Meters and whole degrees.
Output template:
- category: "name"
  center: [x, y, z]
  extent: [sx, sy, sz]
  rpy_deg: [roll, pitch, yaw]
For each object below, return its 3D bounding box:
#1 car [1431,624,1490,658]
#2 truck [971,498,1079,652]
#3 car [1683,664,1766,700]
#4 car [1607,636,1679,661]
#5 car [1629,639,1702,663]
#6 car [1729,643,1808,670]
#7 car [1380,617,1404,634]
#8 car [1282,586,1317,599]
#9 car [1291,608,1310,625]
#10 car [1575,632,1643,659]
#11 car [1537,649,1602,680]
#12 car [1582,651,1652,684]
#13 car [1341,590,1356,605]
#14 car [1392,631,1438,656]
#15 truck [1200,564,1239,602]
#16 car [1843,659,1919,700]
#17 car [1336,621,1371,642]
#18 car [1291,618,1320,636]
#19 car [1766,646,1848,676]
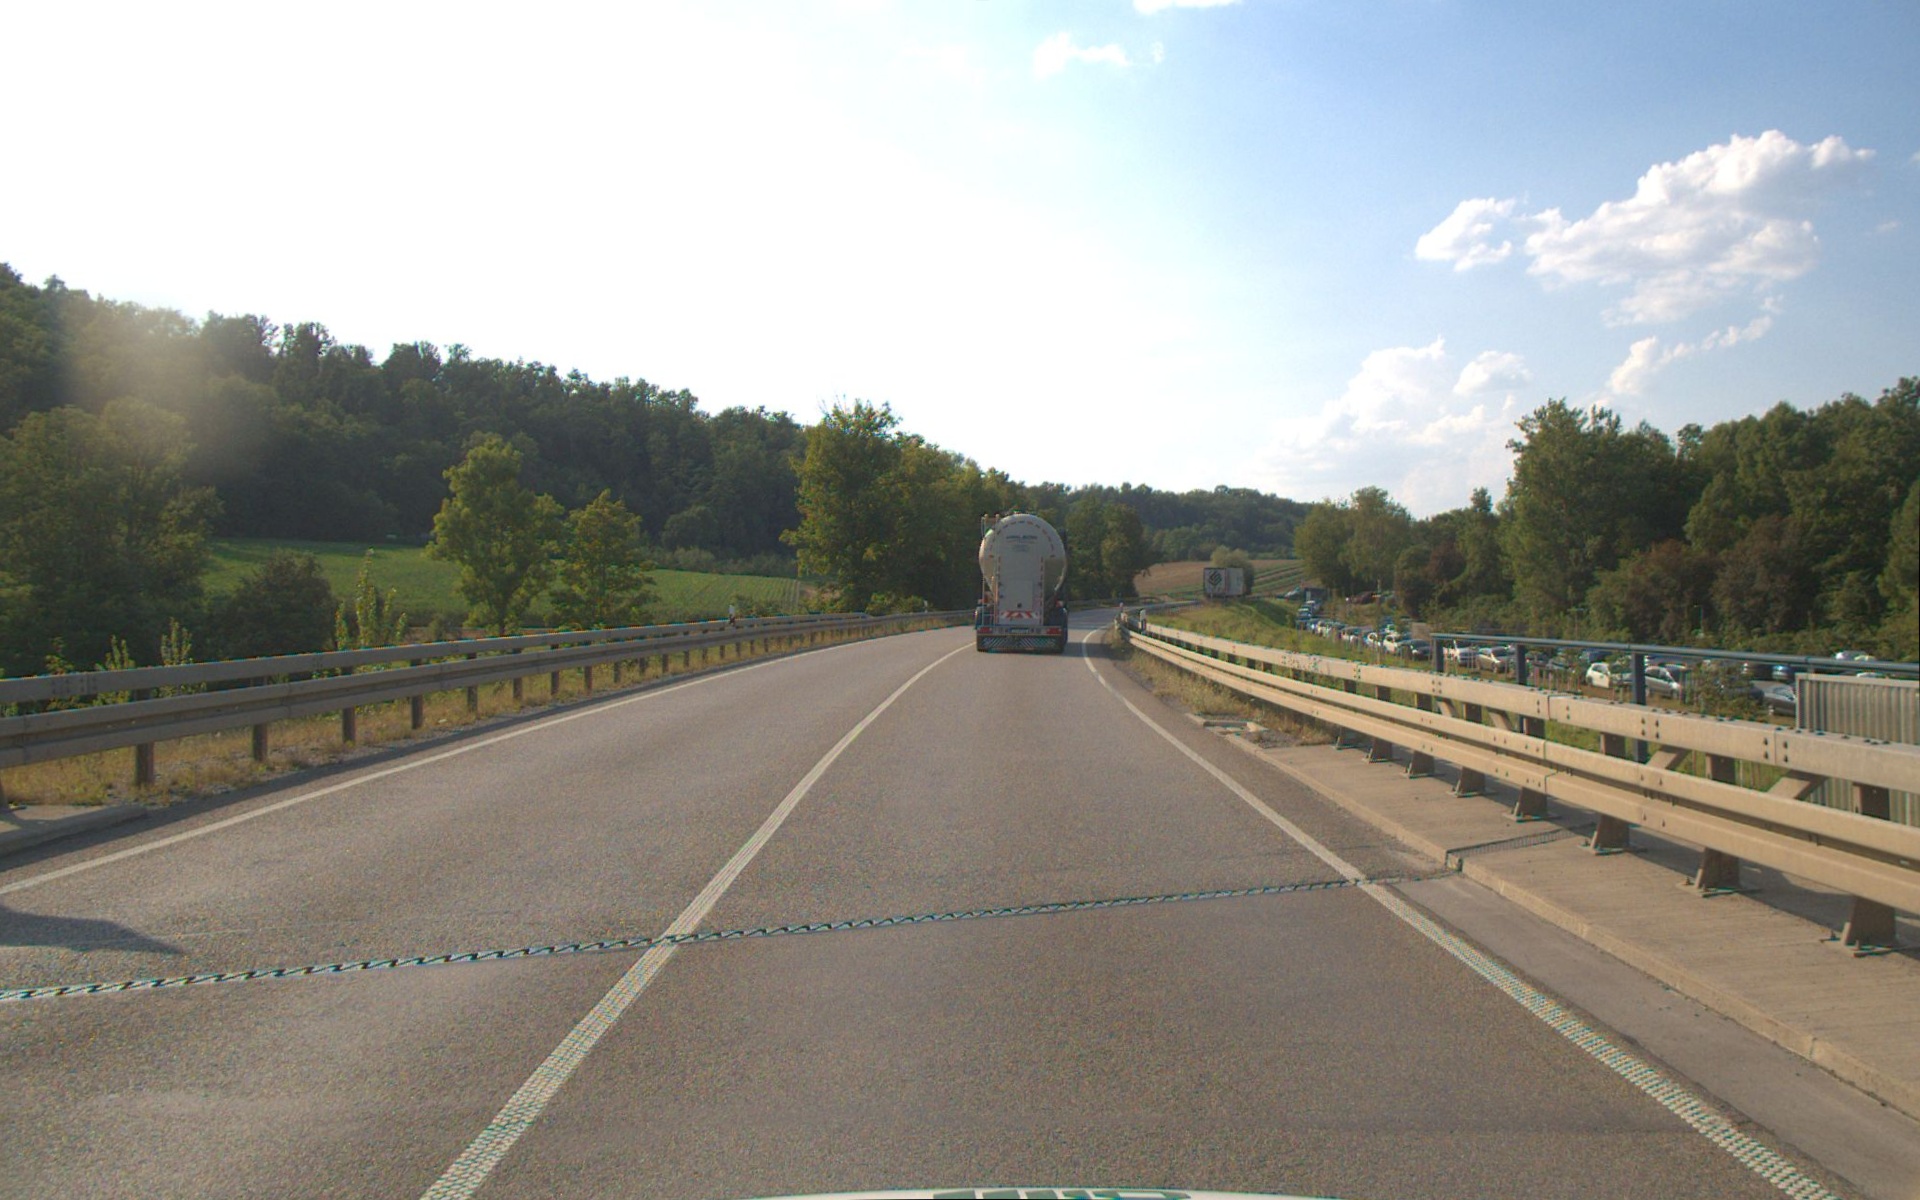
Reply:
- category: "car"
  center: [35.610, 2.882, 117.835]
  extent: [2.078, 2.052, 5.375]
  rpy_deg: [-4, 2, -4]
- category: "truck"
  center: [2.257, -0.679, 52.081]
  extent: [2.832, 4.215, 13.179]
  rpy_deg: [0, 0, 5]
- category: "car"
  center: [38.487, 4.098, 83.361]
  extent: [1.784, 1.425, 4.249]
  rpy_deg: [-2, 2, -8]
- category: "car"
  center: [45.631, 3.225, 110.514]
  extent: [4.156, 1.524, 1.768]
  rpy_deg: [1, 1, -10]
- category: "car"
  center: [45.968, 3.312, 107.773]
  extent: [4.157, 1.481, 1.613]
  rpy_deg: [0, 0, -11]
- category: "car"
  center: [48.617, 3.395, 99.430]
  extent: [4.157, 1.481, 1.613]
  rpy_deg: [-1, 1, -11]
- category: "car"
  center: [41.671, 2.484, 159.508]
  extent: [1.665, 1.423, 3.948]
  rpy_deg: [-3, 0, 8]
- category: "car"
  center: [45.228, -1.027, 220.397]
  extent: [4.231, 1.423, 1.718]
  rpy_deg: [3, 3, -9]
- category: "car"
  center: [38.014, 1.855, 184.582]
  extent: [1.852, 1.586, 4.788]
  rpy_deg: [-3, 2, 14]
- category: "car"
  center: [45.689, 3.220, 116.442]
  extent: [4.156, 1.773, 1.829]
  rpy_deg: [0, 1, -10]
- category: "car"
  center: [36.787, 3.860, 99.869]
  extent: [1.784, 1.508, 4.387]
  rpy_deg: [-2, 2, -8]
- category: "car"
  center: [37.614, 3.850, 94.788]
  extent: [1.784, 1.508, 4.249]
  rpy_deg: [-2, 2, -8]
- category: "car"
  center: [51.869, -0.325, 220.971]
  extent: [1.852, 1.716, 5.092]
  rpy_deg: [-3, 2, 14]
- category: "car"
  center: [34.845, 3.298, 126.736]
  extent: [1.855, 1.508, 4.779]
  rpy_deg: [-4, 2, -4]
- category: "truck"
  center: [30.886, -2.063, 196.464]
  extent: [3.116, 4.301, 13.183]
  rpy_deg: [-1, 1, 16]
- category: "car"
  center: [43.811, 3.700, 77.946]
  extent: [1.621, 1.695, 4.705]
  rpy_deg: [-1, 0, -3]
- category: "car"
  center: [35.597, 2.832, 149.842]
  extent: [1.854, 1.586, 4.782]
  rpy_deg: [-4, 2, -1]
- category: "car"
  center: [36.115, 2.841, 172.934]
  extent: [1.854, 1.586, 4.782]
  rpy_deg: [-4, 2, -1]
- category: "car"
  center: [49.353, 3.541, 96.346]
  extent: [4.157, 1.481, 1.613]
  rpy_deg: [-1, 1, -11]
